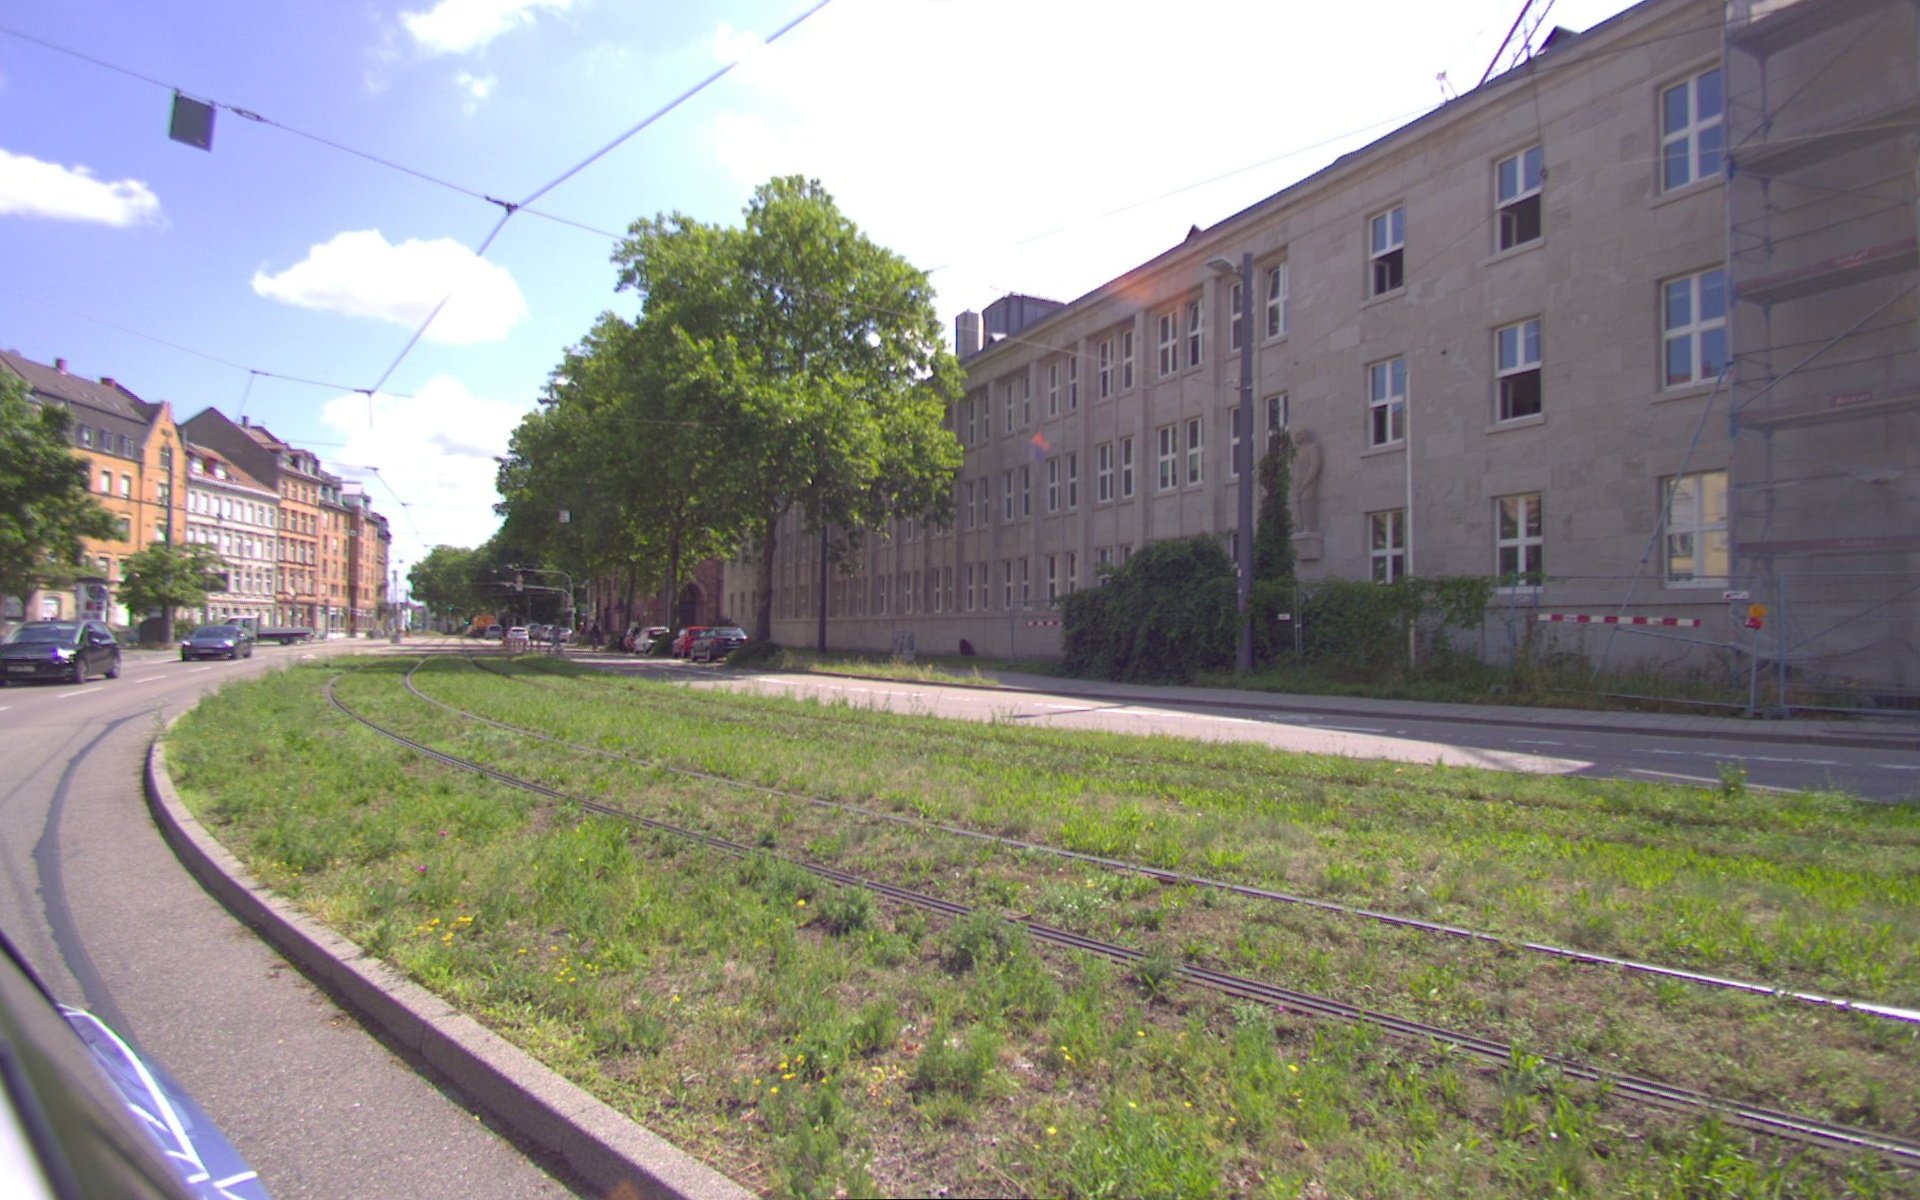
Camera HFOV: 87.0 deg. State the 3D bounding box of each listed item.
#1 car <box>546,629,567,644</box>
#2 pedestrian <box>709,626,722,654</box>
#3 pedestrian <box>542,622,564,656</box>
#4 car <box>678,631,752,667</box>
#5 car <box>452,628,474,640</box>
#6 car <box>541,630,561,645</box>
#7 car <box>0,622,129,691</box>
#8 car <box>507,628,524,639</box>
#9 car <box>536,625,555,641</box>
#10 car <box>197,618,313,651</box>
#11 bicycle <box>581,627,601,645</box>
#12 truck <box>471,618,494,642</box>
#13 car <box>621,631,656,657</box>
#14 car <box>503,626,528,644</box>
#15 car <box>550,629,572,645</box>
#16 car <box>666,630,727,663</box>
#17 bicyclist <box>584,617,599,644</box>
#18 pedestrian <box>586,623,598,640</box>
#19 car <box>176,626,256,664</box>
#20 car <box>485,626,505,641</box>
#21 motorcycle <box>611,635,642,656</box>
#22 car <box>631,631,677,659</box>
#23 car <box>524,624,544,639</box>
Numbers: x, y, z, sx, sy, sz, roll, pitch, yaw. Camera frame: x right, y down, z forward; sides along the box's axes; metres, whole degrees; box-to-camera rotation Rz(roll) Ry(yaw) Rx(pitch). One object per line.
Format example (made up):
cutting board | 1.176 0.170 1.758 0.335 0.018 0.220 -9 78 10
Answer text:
car | -42.684 3.816 106.988 1.732 1.508 4.013 0 -1 -26
pedestrian | -14.045 2.272 58.045 0.546 1.603 0.798 0 -1 -28
pedestrian | -20.980 2.014 52.196 0.700 1.717 0.775 -1 -1 30
car | -10.187 2.004 41.878 1.899 1.379 4.331 -1 -2 -29
car | -88.158 6.022 179.622 3.990 2.201 1.742 -1 -1 34
car | -44.858 4.085 111.034 1.732 1.508 4.013 0 -1 -26
car | -23.086 1.376 25.917 1.844 1.631 4.203 0 -1 -26
car | -66.190 4.982 150.593 1.733 1.508 4.011 0 -1 -33
car | -47.807 3.793 116.665 1.732 1.850 4.013 0 -1 -26
car | -52.858 2.587 76.064 6.860 2.392 2.270 1 -2 -28
bicycle | -23.182 2.244 63.506 0.779 1.118 2.283 0 -1 -31
truck | -65.725 4.143 139.184 2.602 3.130 7.246 3 -3 -27
car | -19.038 2.588 59.900 1.466 1.465 2.892 -1 -2 -29
car | -39.569 3.097 90.097 1.735 1.491 3.799 4 -4 -28
car | -40.614 3.729 102.873 1.732 1.508 4.013 0 -1 -26
car | -12.201 2.117 46.725 1.899 1.431 4.063 -1 -2 -27
bicyclist | -23.108 1.907 63.418 0.751 1.717 0.786 0 -1 -30
pedestrian | -27.999 2.359 76.990 0.745 1.221 0.916 -4 1 -25
car | -30.850 1.831 42.072 1.883 1.404 4.327 0 -1 -26
car | -55.727 4.002 121.271 1.893 1.759 4.552 4 -3 -28
motorcycle | -21.273 2.908 64.519 0.541 1.185 2.090 -5 -1 25
car | -16.889 2.447 55.701 1.722 1.465 3.502 -1 -2 -29
car | -56.618 4.168 134.412 1.960 2.019 4.098 0 -1 -29
